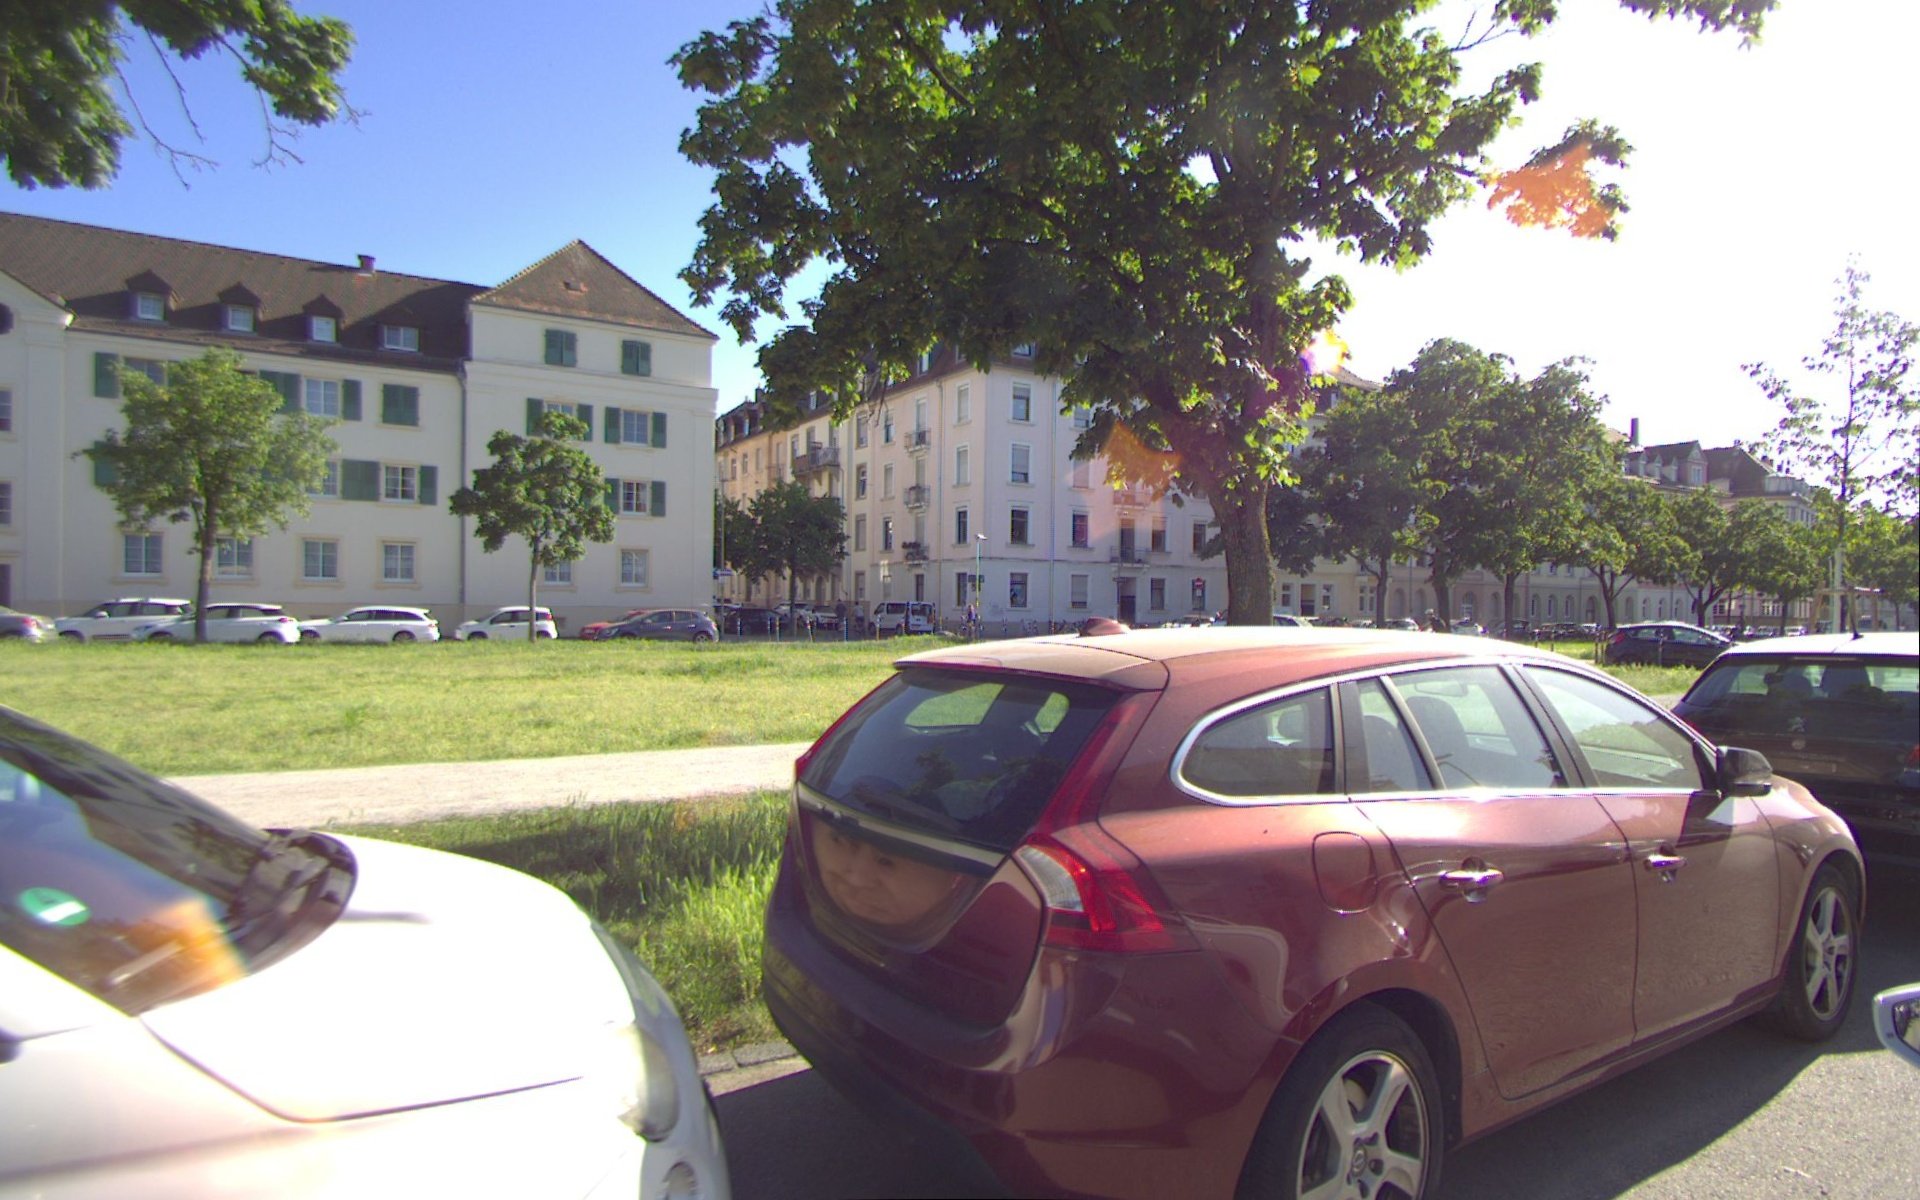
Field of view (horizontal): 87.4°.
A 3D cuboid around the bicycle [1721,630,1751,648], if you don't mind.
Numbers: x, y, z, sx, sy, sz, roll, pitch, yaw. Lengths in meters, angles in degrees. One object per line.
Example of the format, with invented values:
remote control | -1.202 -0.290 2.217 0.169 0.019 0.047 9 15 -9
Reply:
bicycle | 54.701 2.752 70.788 2.605 1.269 0.806 1 0 -32

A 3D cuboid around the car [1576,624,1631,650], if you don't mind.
car | 43.945 2.511 68.550 4.036 1.709 1.622 1 0 -32

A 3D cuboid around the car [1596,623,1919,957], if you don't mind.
car | 6.094 0.936 6.202 4.419 1.539 1.864 1 -3 -31

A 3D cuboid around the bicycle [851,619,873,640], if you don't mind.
bicycle | -5.145 1.541 52.592 0.524 1.030 1.474 1 0 -33

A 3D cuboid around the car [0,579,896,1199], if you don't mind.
car | -2.052 0.747 1.308 3.643 1.512 1.578 1 -2 -31

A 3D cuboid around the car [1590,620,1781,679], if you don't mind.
car | 20.487 1.349 28.526 4.278 1.428 1.913 0 1 37

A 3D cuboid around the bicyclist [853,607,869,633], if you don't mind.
bicyclist | -5.197 1.044 52.680 0.528 1.382 0.778 1 0 -33

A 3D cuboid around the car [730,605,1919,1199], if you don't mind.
car | 1.687 0.831 3.619 4.615 1.511 1.747 1 -2 -31

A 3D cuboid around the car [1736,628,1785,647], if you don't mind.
car | 64.367 2.976 80.761 3.729 1.459 1.838 1 0 -30

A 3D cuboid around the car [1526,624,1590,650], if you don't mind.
car | 39.194 2.409 65.807 4.478 1.570 1.747 1 -1 -32

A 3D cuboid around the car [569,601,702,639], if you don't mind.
car | -13.356 0.837 41.444 4.901 1.504 1.984 1 -1 -31

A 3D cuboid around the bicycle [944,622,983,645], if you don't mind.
bicycle | 0.177 1.602 48.393 1.954 1.030 0.655 1 0 44

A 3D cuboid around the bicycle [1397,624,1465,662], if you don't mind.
bicycle | 16.800 1.510 35.839 2.118 1.275 0.712 1 0 34

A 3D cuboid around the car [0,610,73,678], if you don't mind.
car | -26.958 1.162 27.181 3.959 1.773 2.308 1 0 -28

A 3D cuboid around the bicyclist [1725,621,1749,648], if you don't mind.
bicyclist | 54.706 2.400 70.721 1.433 1.861 0.936 2 -2 -32

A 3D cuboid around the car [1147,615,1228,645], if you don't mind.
car | 12.891 1.670 56.752 4.406 1.608 1.981 1 -1 -34

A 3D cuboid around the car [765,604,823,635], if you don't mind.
car | -11.337 1.305 68.451 1.979 2.000 5.005 1 0 -34

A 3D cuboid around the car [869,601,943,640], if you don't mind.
car | -3.015 1.083 55.320 2.117 2.040 4.536 1 0 -32

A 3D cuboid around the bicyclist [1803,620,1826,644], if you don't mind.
bicyclist | 66.198 2.465 77.796 1.433 1.861 0.937 2 -2 -31

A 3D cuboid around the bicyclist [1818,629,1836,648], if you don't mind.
bicyclist | 65.249 2.906 75.601 0.931 1.456 0.734 2 -2 -30

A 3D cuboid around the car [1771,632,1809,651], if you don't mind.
car | 68.381 3.390 82.707 3.196 1.459 1.509 1 0 -32

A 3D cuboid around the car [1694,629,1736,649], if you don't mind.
car | 57.581 2.944 76.589 3.300 1.459 1.374 1 0 -29

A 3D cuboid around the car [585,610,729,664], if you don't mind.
car | -10.985 1.313 36.497 4.652 1.844 2.147 1 -1 -32

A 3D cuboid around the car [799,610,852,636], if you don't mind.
car | -8.631 1.454 64.313 1.917 1.590 3.847 1 0 -33

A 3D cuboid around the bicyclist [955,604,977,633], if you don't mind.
bicyclist | 0.284 0.894 48.318 0.865 1.382 0.620 1 0 43

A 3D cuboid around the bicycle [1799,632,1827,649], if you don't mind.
bicycle | 66.026 3.129 77.746 2.605 1.269 0.806 3 0 -32

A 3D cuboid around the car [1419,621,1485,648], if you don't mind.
car | 29.401 2.060 59.996 4.036 1.547 1.685 1 0 -32

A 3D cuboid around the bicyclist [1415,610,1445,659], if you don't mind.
bicyclist | 16.775 1.212 35.854 0.864 1.713 0.630 0 -1 34

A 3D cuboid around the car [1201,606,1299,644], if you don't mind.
car | 14.993 1.288 51.876 5.042 1.897 2.070 1 0 -32

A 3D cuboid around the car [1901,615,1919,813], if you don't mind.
car | 10.350 0.956 8.777 4.682 1.631 1.811 1 -2 -30

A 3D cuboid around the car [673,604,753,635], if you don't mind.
car | -14.320 1.133 58.201 4.196 1.724 1.691 1 0 -32

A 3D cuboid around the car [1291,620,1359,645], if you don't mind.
car | 19.744 1.764 54.247 3.487 1.296 1.685 1 -1 -32

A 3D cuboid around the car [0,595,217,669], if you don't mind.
car | -27.948 1.025 33.193 5.199 2.245 2.517 1 0 -32

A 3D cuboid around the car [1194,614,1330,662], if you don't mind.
car | 10.833 1.322 36.142 4.278 1.597 1.922 0 -1 37

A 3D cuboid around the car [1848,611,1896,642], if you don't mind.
car | 83.728 2.457 92.182 5.563 2.780 1.905 1 0 -32

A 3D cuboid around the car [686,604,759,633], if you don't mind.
car | -13.289 1.034 56.227 3.578 1.541 1.692 1 0 -34

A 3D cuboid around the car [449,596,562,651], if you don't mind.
car | -17.622 0.917 38.996 3.851 2.040 1.657 2 -1 -30

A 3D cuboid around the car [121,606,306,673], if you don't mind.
car | -22.115 1.144 30.027 4.210 1.844 2.224 1 -1 -32

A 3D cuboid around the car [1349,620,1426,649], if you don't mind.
car | 24.254 1.956 56.922 4.646 1.582 1.684 1 0 -32

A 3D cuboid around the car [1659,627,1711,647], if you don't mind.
car | 53.589 2.722 74.243 3.728 1.448 1.687 1 0 -29

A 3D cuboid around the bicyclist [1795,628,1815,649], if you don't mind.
bicyclist | 64.093 2.929 76.158 0.931 1.455 0.735 3 -9 -30

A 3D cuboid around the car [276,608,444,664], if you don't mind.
car | -21.750 1.268 36.628 5.098 1.911 2.143 1 0 -30

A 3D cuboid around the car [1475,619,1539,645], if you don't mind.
car | 34.051 1.992 62.503 4.307 1.570 1.622 1 0 -32
